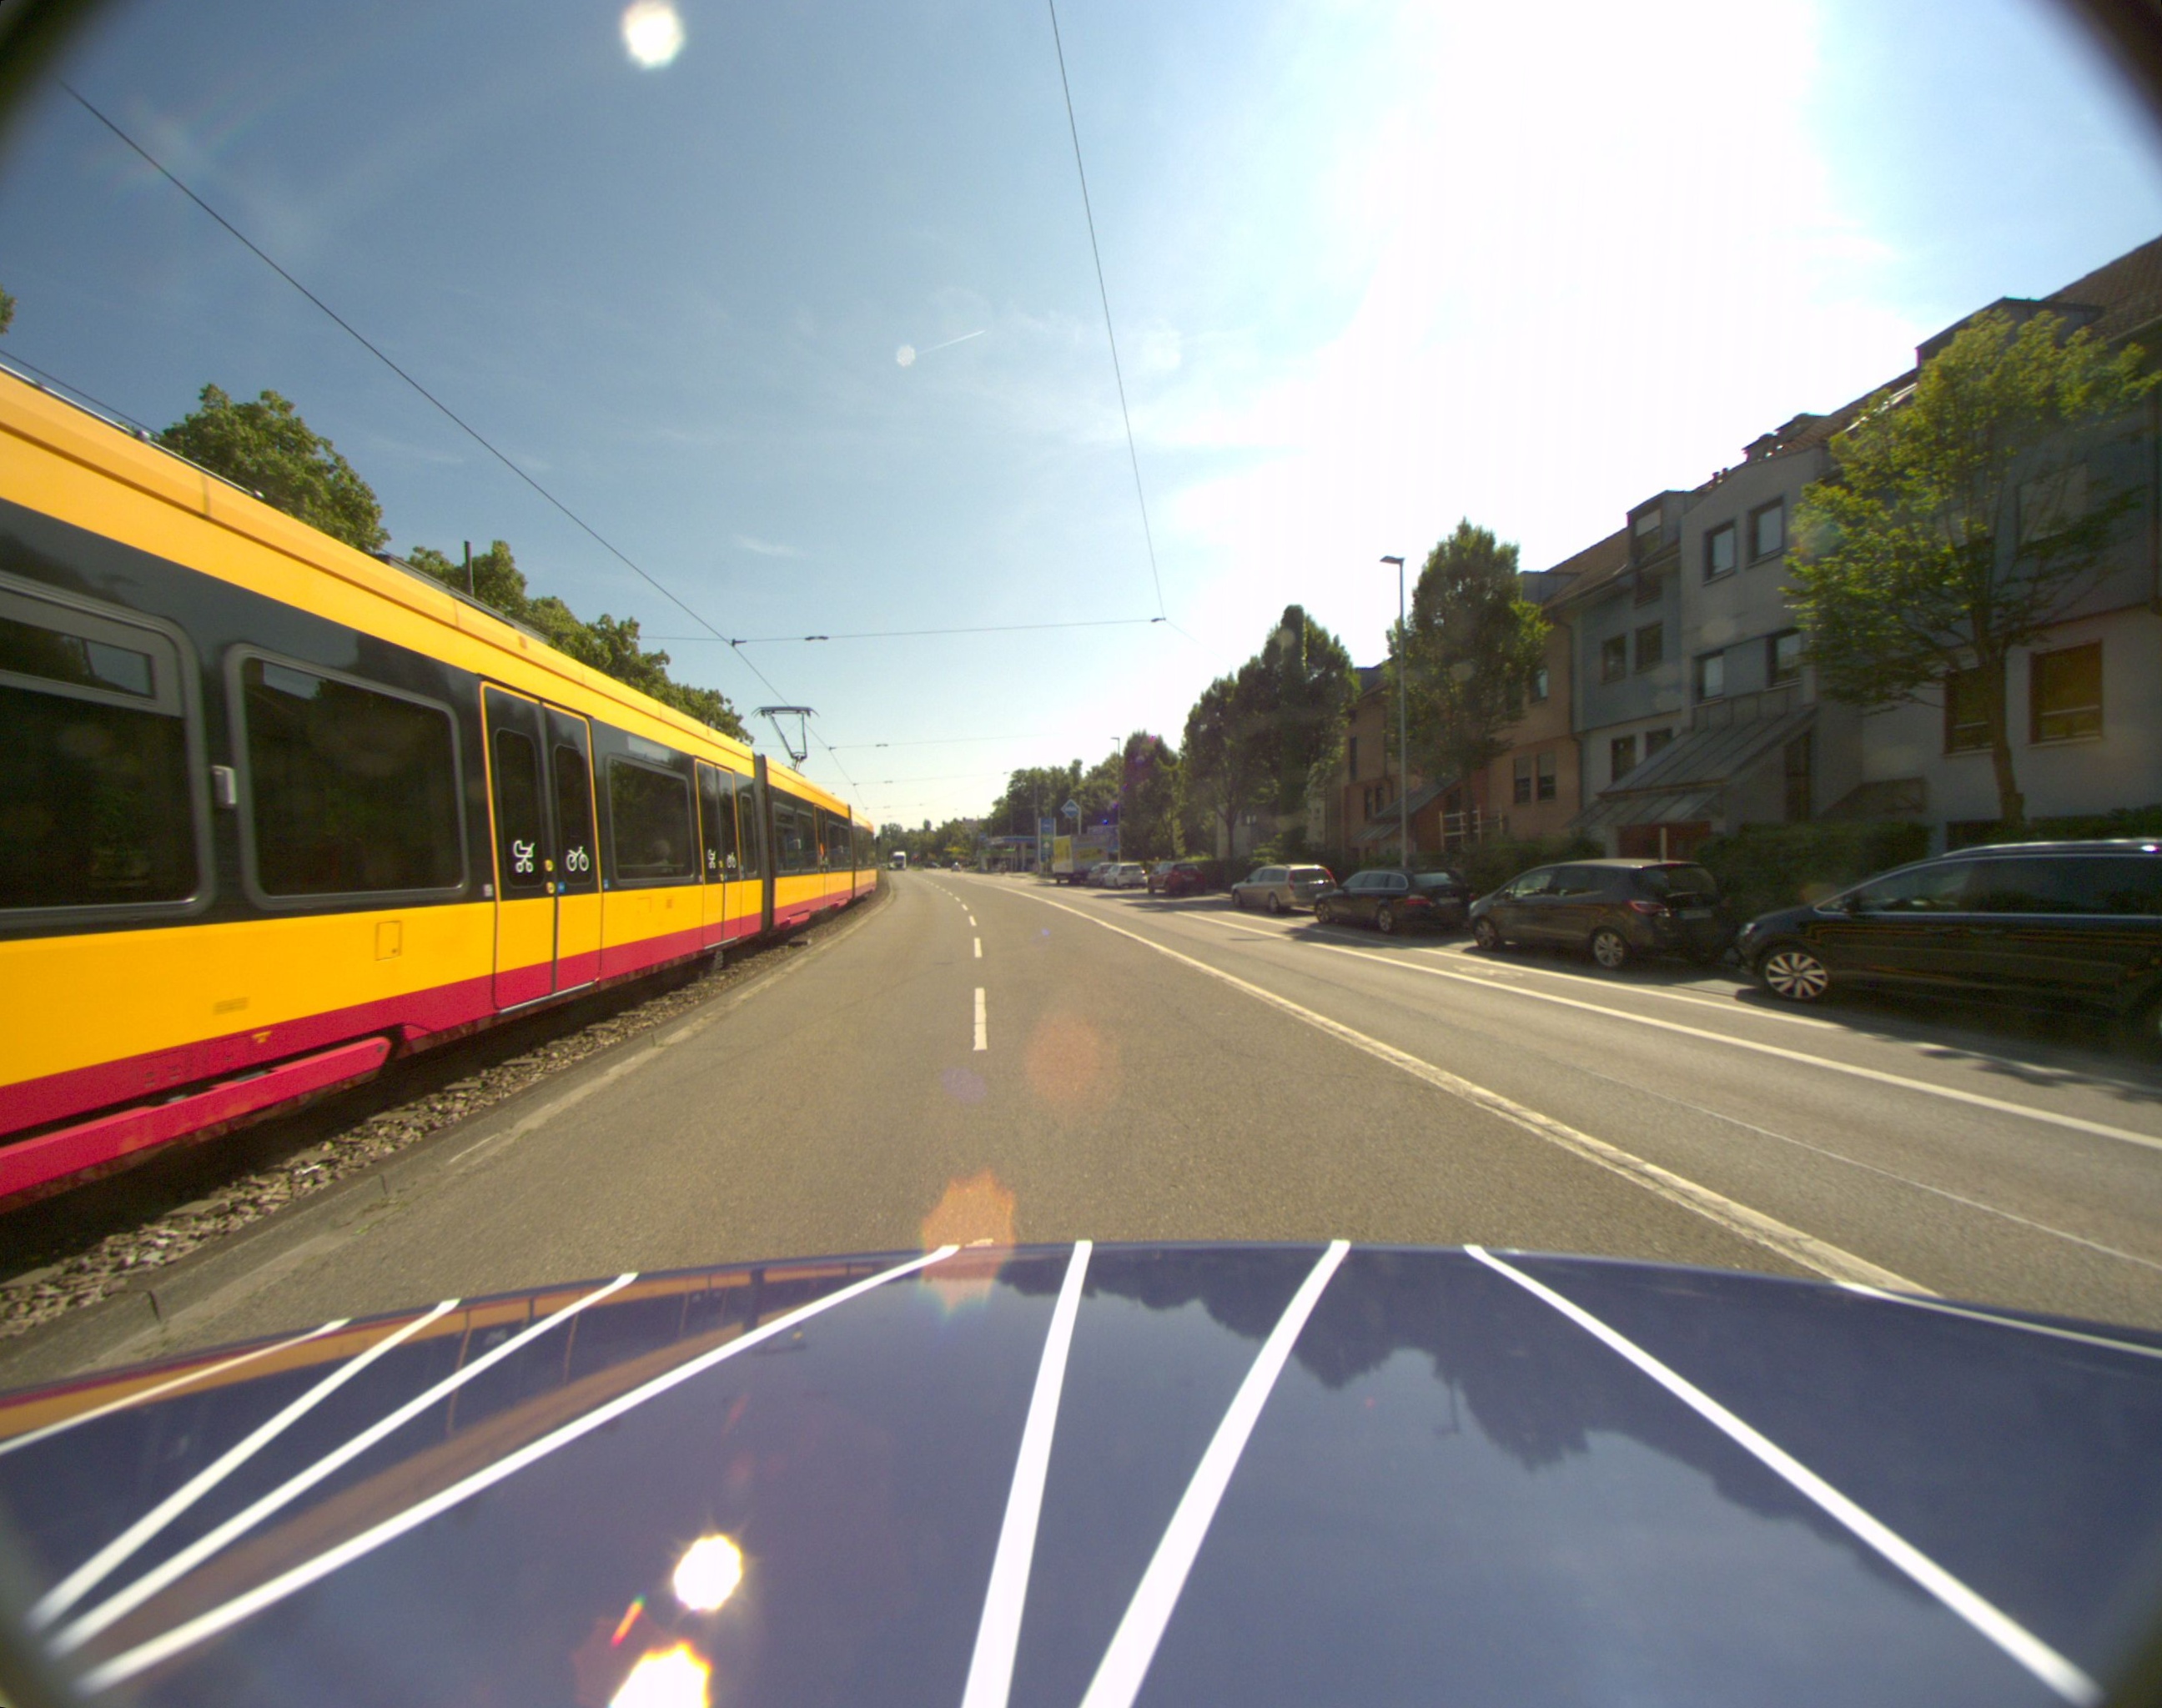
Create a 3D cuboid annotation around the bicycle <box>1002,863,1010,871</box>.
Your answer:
[{"bbox_3d":[-10.328,1.734,104.426,0.828,1.088,2.769,0,0,-12],"label":"bicycle"}]

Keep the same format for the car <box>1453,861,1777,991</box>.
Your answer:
[{"bbox_3d":[8.165,0.965,12.226,1.722,1.615,4.309,-2,0,-9],"label":"car"}]

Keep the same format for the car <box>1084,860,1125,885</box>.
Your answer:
[{"bbox_3d":[1.456,1.124,48.267,1.615,1.475,3.631,-2,0,-15],"label":"car"}]

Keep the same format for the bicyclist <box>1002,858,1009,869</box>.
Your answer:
[{"bbox_3d":[-10.440,1.289,105.102,0.850,1.427,0.832,-2,0,-11],"label":"bicyclist"}]

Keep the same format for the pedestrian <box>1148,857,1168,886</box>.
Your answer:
[{"bbox_3d":[4.539,1.029,44.852,0.878,1.681,1.054,0,0,-13],"label":"pedestrian"}]

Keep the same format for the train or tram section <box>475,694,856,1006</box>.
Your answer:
[{"bbox_3d":[-6.950,-0.032,15.818,2.519,3.725,13.300,0,0,-9],"label":"train or tram section"}]

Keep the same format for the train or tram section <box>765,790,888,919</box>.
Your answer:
[{"bbox_3d":[-9.124,0.031,28.861,2.520,3.725,13.298,0,0,-10],"label":"train or tram section"}]

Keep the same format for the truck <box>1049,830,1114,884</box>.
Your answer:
[{"bbox_3d":[-0.152,0.206,54.801,2.676,3.509,8.580,-2,0,-13],"label":"truck"}]

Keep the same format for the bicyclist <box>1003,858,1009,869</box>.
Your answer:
[{"bbox_3d":[-10.307,1.288,104.345,0.850,1.427,0.832,0,0,-10],"label":"bicyclist"}]

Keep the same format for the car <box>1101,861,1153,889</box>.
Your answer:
[{"bbox_3d":[2.548,1.150,42.917,1.764,1.420,4.276,-2,0,-13],"label":"car"}]

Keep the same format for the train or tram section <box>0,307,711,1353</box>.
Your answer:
[{"bbox_3d":[-5.144,-0.084,2.889,2.519,3.725,13.301,0,0,-7],"label":"train or tram section"}]

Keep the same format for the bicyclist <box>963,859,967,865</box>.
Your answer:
[{"bbox_3d":[-27.344,1.923,178.765,0.711,1.412,0.738,-1,-1,-22],"label":"bicyclist"}]

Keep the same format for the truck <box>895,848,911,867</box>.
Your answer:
[{"bbox_3d":[-38.718,0.732,165.816,2.855,3.983,14.290,0,-1,-11],"label":"truck"}]

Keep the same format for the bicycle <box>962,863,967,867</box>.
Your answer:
[{"bbox_3d":[-27.367,2.559,178.943,0.754,1.051,2.072,0,0,-23],"label":"bicycle"}]

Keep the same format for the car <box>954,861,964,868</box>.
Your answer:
[{"bbox_3d":[-23.571,2.029,146.524,1.664,1.412,4.305,0,0,-11],"label":"car"}]

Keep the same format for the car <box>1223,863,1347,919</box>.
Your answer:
[{"bbox_3d":[6.420,1.107,24.547,1.787,1.475,4.851,-2,1,-12],"label":"car"}]

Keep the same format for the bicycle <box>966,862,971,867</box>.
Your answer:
[{"bbox_3d":[-26.757,2.462,180.929,0.941,1.168,2.209,0,0,-12],"label":"bicycle"}]

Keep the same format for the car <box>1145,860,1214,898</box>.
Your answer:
[{"bbox_3d":[4.418,1.091,34.782,1.737,1.542,4.313,-2,0,-13],"label":"car"}]

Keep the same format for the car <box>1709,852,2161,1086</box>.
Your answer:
[{"bbox_3d":[8.872,0.872,6.897,1.775,1.713,4.865,-3,0,-10],"label":"car"}]

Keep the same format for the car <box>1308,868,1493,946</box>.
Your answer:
[{"bbox_3d":[7.337,1.127,18.075,1.729,1.466,4.710,-2,0,-11],"label":"car"}]
